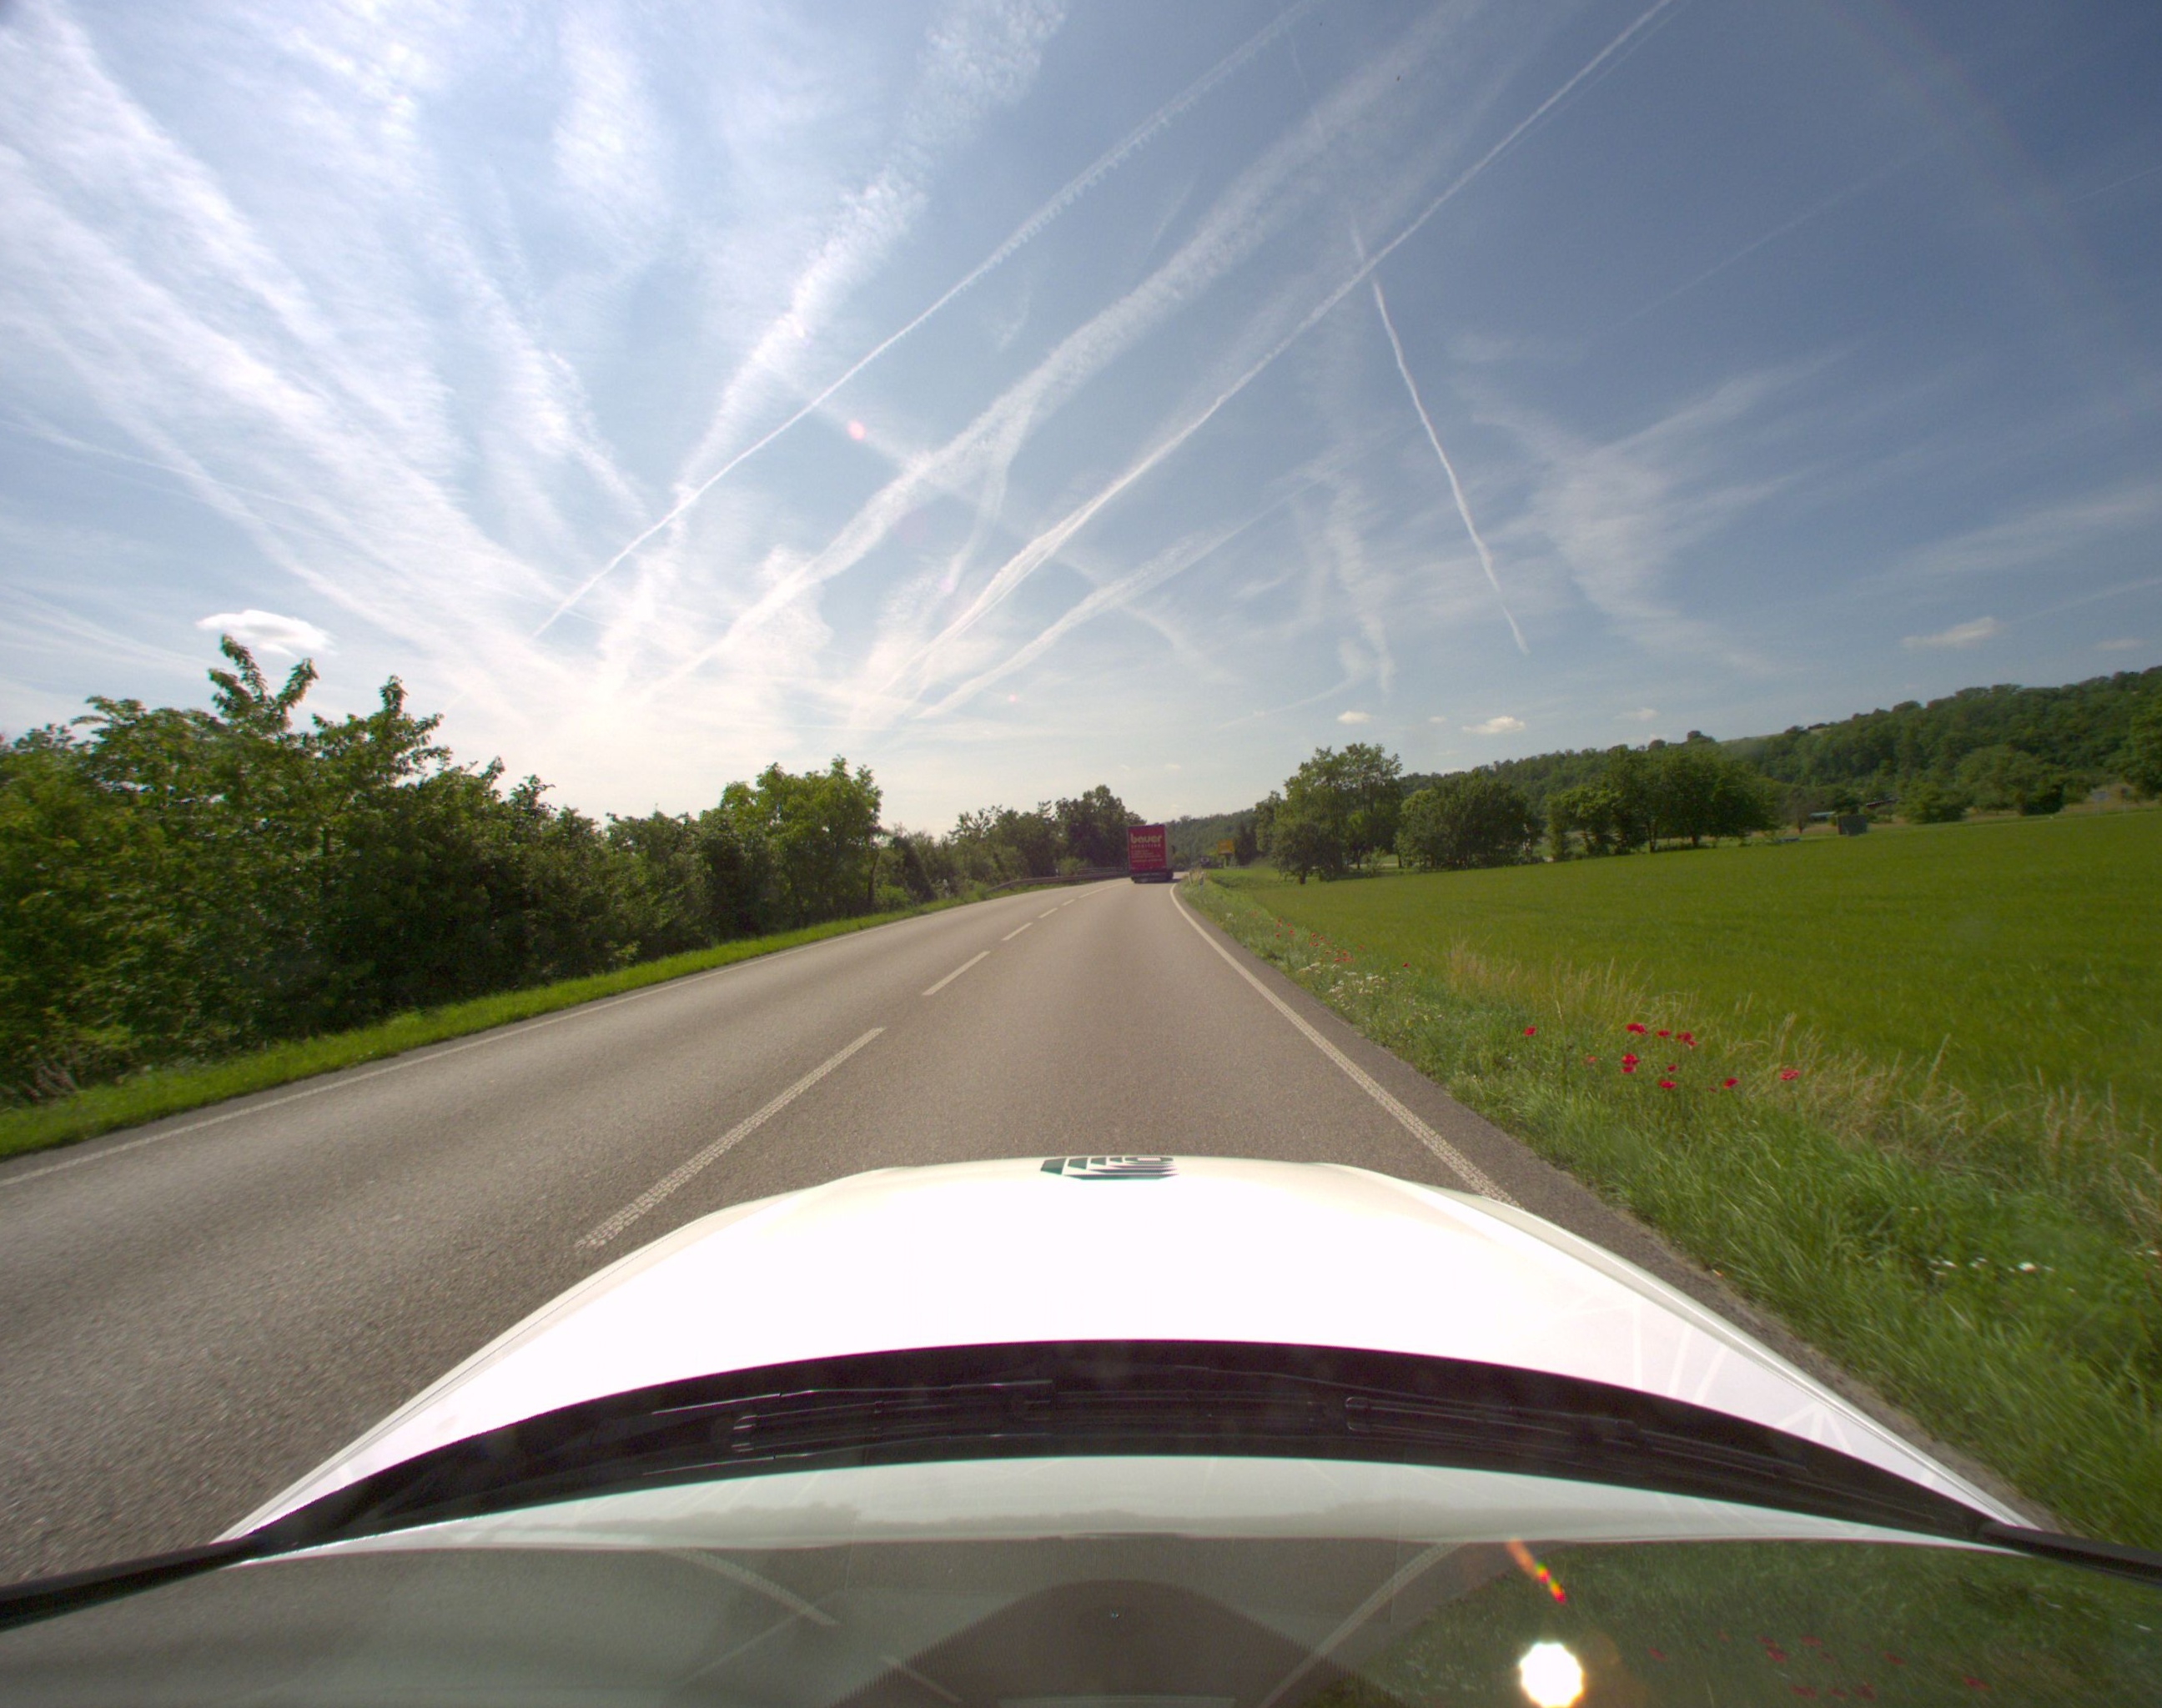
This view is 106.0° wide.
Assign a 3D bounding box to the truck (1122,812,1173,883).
[{"bbox_3d":[5.211,-0.360,61.259,3.156,4.625,13.568,-2,-1,7],"label":"truck"}]

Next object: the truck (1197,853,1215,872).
[{"bbox_3d":[31.415,2.284,204.587,3.880,4.370,13.328,-1,-2,11],"label":"truck"}]

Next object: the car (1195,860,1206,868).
[{"bbox_3d":[25.692,2.156,174.796,1.980,1.810,4.012,0,-2,11],"label":"car"}]
